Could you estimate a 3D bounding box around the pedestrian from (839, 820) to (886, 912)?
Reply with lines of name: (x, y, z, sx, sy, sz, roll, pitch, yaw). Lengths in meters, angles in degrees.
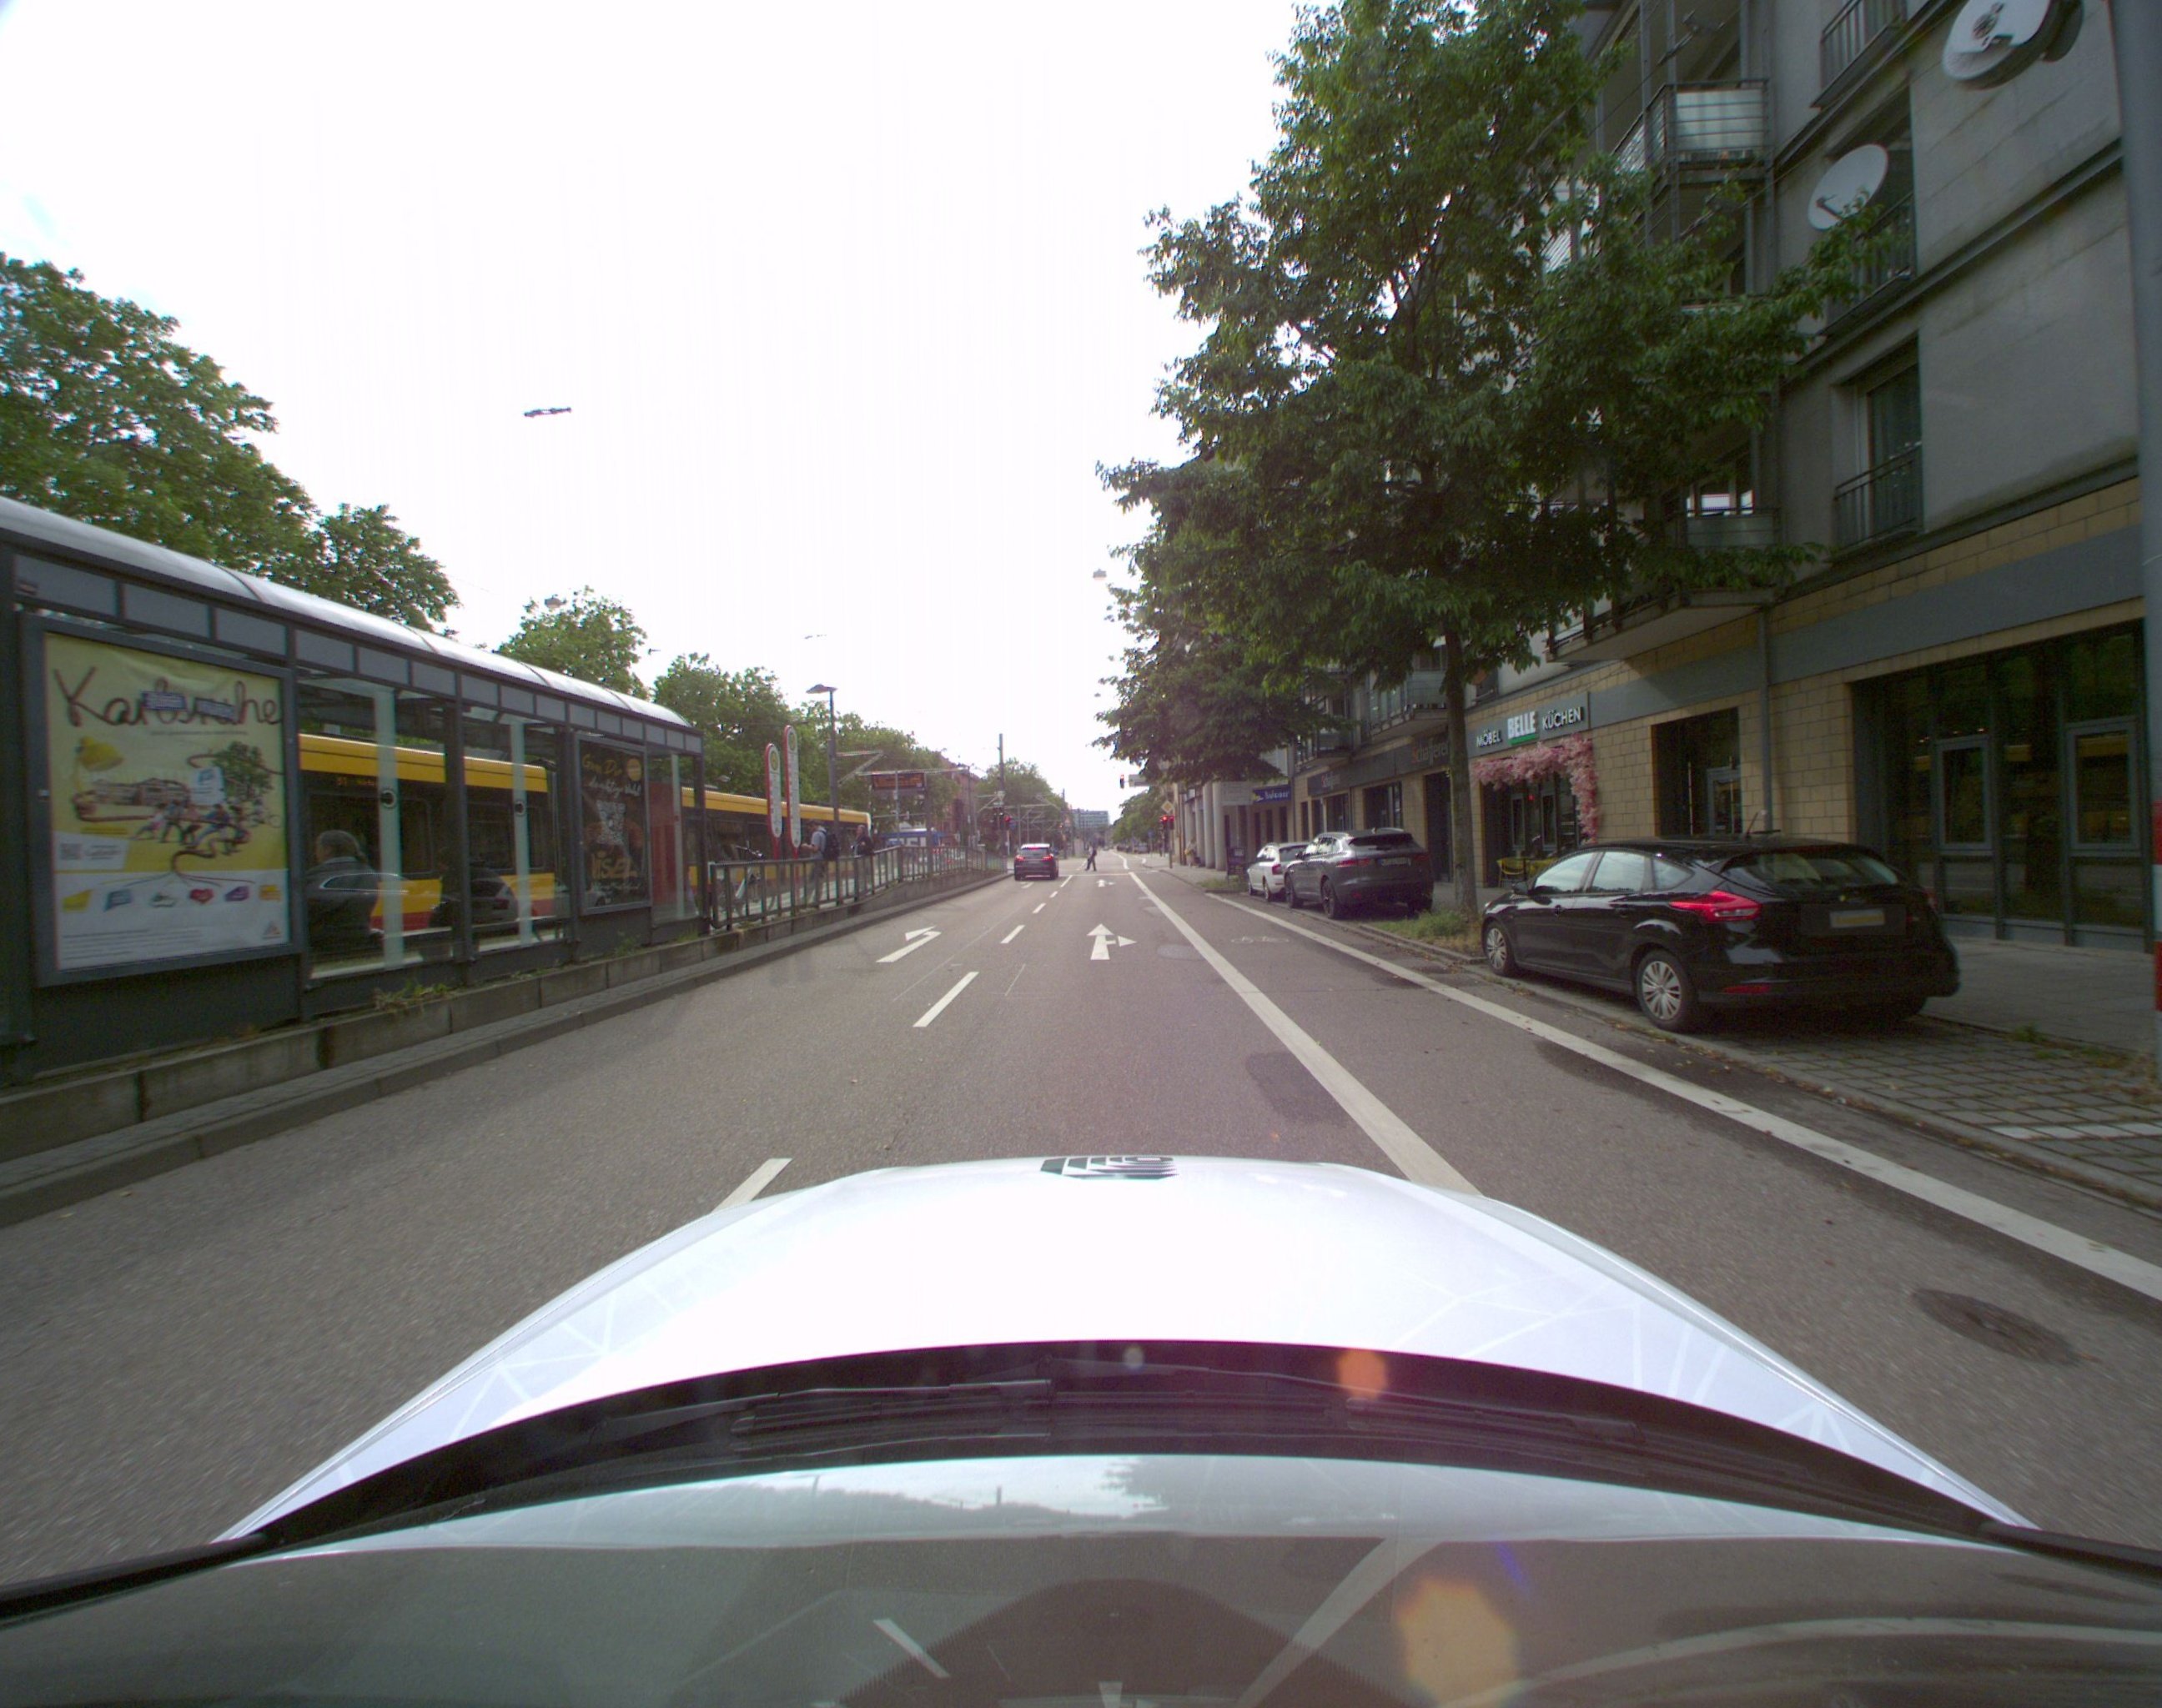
pedestrian: (-4.917, 0.254, 18.333, 0.758, 2.013, 0.809, -1, 0, -36)

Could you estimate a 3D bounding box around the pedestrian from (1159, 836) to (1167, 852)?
pedestrian: (8.826, -1.080, 87.565, 0.848, 1.654, 0.508, -1, 0, -1)

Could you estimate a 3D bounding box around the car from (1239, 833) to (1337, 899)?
car: (5.528, 0.284, 22.260, 1.669, 1.498, 4.393, -4, 0, 3)

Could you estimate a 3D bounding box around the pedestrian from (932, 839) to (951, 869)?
pedestrian: (-8.323, 0.006, 48.510, 0.906, 1.784, 0.651, 0, 0, 39)

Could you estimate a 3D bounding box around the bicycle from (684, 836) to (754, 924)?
bicycle: (-5.340, 0.359, 12.081, 0.417, 1.222, 1.290, -1, 0, 1)

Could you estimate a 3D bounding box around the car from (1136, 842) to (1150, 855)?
car: (9.650, -0.897, 127.325, 1.986, 2.013, 4.001, -1, 0, 1)

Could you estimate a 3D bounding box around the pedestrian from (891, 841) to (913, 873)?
pedestrian: (-9.934, 0.169, 45.249, 1.132, 1.778, 0.625, -2, 0, -16)

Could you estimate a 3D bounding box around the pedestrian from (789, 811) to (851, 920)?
pedestrian: (-4.991, 0.205, 15.579, 0.746, 2.013, 0.823, -1, 0, 24)

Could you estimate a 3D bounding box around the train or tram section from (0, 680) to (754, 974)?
train or tram section: (-11.851, -0.381, 17.511, 3.048, 3.531, 15.301, -1, 0, 2)

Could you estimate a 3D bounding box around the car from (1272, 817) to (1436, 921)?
car: (5.422, 0.250, 16.864, 1.706, 1.717, 4.711, -4, 0, 0)

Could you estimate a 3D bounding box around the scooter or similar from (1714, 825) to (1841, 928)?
scooter or similar: (8.837, 0.261, 10.390, 0.515, 1.200, 1.214, -5, 0, 1)

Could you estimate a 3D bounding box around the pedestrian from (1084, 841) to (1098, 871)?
pedestrian: (0.580, 0.106, 46.420, 0.725, 1.661, 0.756, -1, 0, 1)

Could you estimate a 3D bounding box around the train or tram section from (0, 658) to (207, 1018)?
train or tram section: (-12.317, -0.098, 2.199, 3.048, 3.531, 15.301, -1, 0, 2)

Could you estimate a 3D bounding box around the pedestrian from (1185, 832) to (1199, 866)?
pedestrian: (6.141, -0.273, 45.188, 0.613, 1.805, 0.738, -3, 0, 3)

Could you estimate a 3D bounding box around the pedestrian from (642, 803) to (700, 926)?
pedestrian: (-5.574, 0.144, 11.079, 0.529, 1.632, 0.471, -1, 0, -1)

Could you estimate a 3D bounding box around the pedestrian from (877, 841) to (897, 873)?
pedestrian: (-11.106, 0.149, 46.690, 1.015, 1.813, 0.580, -1, 0, -22)

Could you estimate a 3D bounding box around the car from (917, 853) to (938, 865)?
car: (-18.192, 0.568, 96.633, 1.628, 1.325, 4.002, -1, 0, 2)

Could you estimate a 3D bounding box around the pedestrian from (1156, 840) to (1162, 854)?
pedestrian: (8.615, -0.727, 89.748, 0.544, 1.537, 0.465, -1, 0, -3)

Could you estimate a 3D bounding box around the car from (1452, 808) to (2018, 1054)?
car: (5.152, 0.474, 7.382, 1.669, 1.441, 4.411, -4, 0, 3)

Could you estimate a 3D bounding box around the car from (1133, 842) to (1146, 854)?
car: (9.807, -0.970, 136.764, 1.986, 2.013, 4.001, -1, 0, 1)

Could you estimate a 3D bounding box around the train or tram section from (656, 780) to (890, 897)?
train or tram section: (-11.388, -0.532, 33.115, 3.048, 3.588, 15.855, -1, 0, 2)

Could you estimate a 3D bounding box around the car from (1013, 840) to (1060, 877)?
car: (-2.009, 0.193, 38.147, 1.873, 1.601, 4.358, -1, 0, 1)
